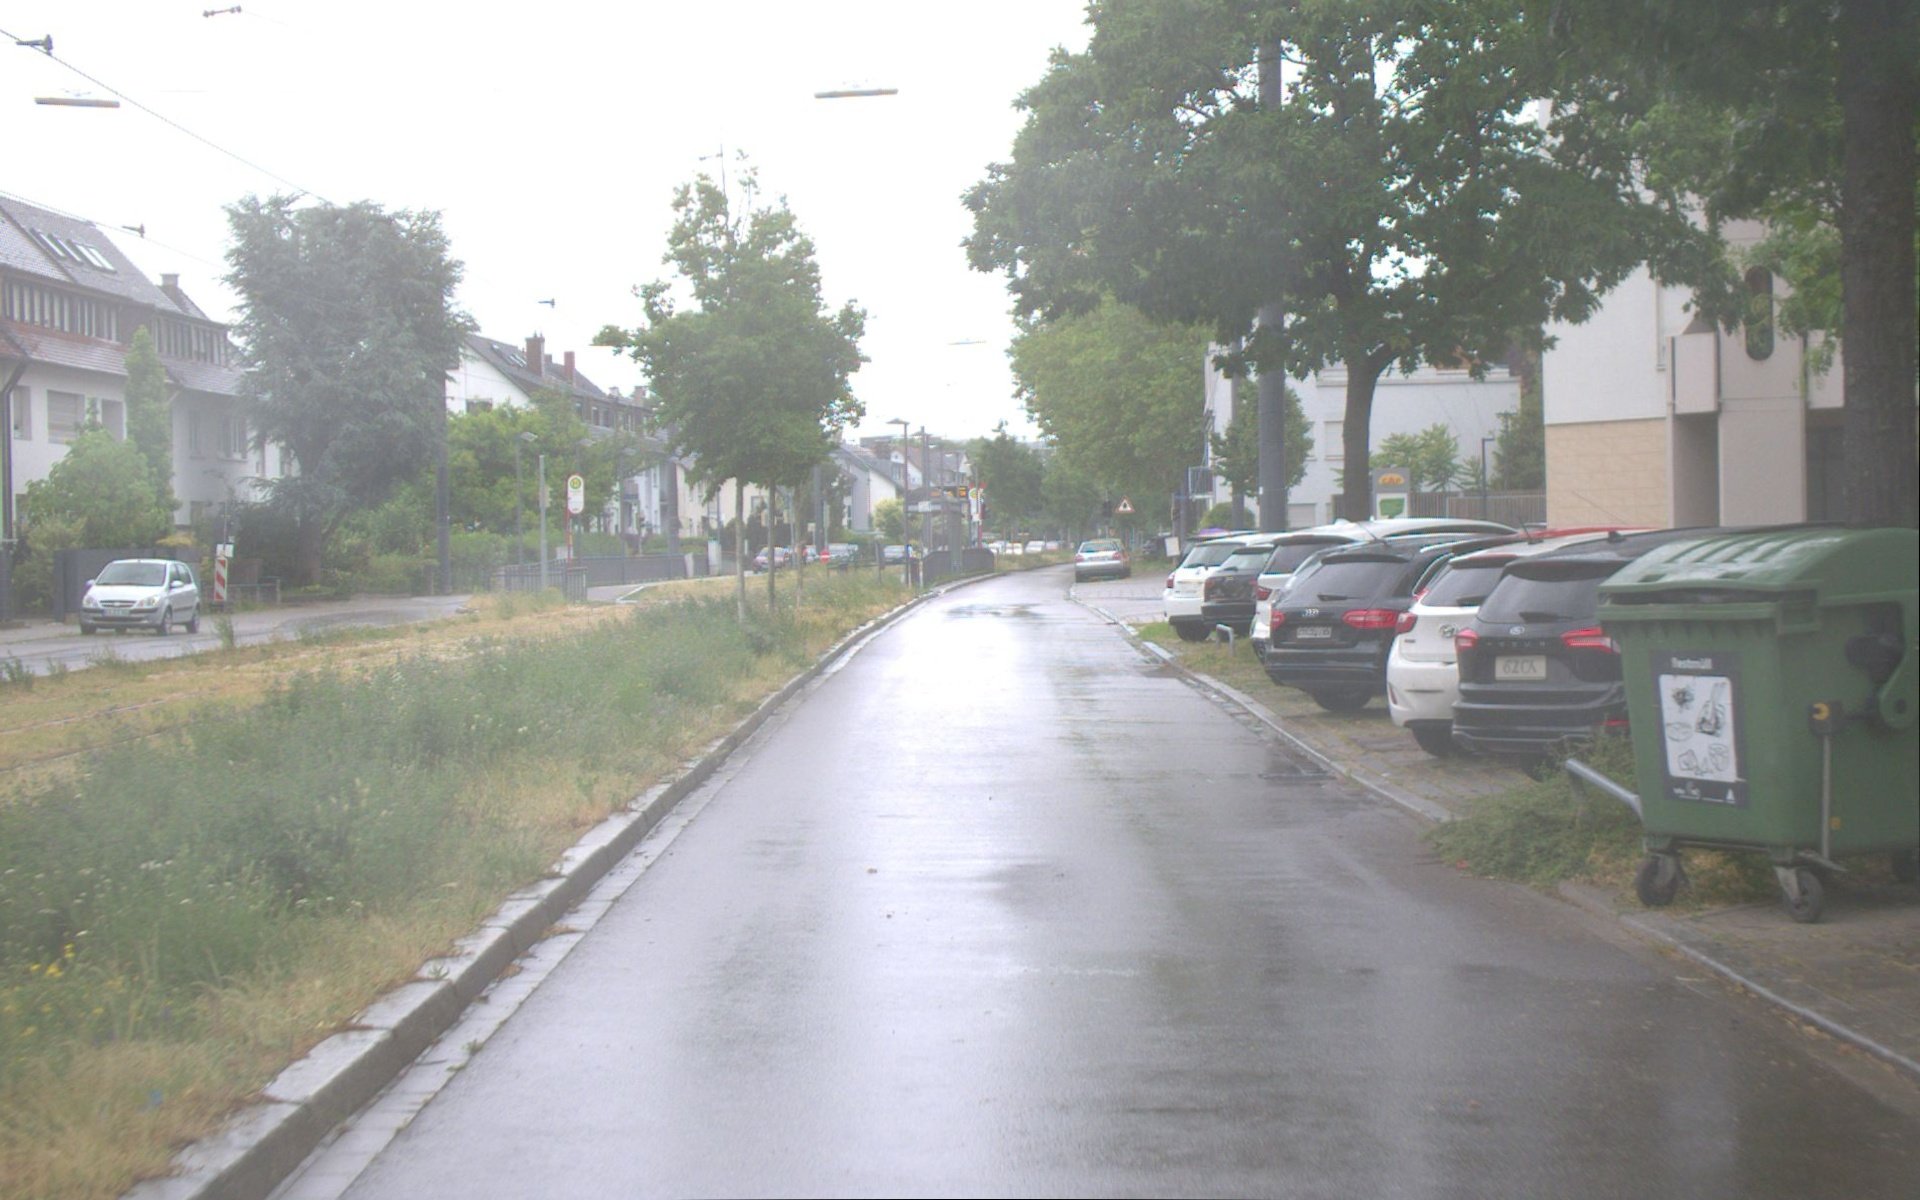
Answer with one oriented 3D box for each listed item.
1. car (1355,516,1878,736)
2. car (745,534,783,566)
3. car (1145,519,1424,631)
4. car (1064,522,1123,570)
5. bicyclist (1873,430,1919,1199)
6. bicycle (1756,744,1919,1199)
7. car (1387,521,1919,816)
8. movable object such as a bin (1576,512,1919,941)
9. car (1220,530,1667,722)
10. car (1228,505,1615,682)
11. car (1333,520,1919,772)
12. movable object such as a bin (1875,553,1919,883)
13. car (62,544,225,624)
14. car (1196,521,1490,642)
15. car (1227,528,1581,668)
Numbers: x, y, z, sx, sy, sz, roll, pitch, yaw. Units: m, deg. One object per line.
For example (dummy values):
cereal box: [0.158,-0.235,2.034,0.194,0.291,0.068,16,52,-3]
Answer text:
car: [5.128,0.156,26.652,4.028,1.514,1.585,-2,1,-35]
car: [-10.615,-2.719,186.355,1.843,1.666,4.000,-1,1,0]
car: [4.794,-0.381,50.526,4.029,1.508,1.585,-2,1,-37]
car: [4.666,-1.905,120.633,1.833,1.580,4.000,-1,1,0]
bicyclist: [2.008,0.430,5.336,0.809,1.428,1.060,-2,1,-4]
bicycle: [2.022,0.846,5.386,0.809,1.093,2.517,-2,1,-3]
car: [4.744,0.322,20.252,4.214,1.514,1.877,-2,1,-35]
movable object such as a bin: [3.322,0.445,13.347,1.125,1.452,1.401,-8,3,-21]
car: [4.154,0.178,29.146,4.030,1.438,1.584,-3,2,-44]
car: [4.864,-0.100,36.007,4.029,1.697,1.585,-2,1,-37]
car: [4.619,0.259,23.513,4.028,1.514,1.585,-2,1,-35]
movable object such as a bin: [4.800,0.430,13.665,1.681,1.321,1.401,-4,2,-21]
car: [-15.995,-0.346,67.575,1.897,1.464,4.687,1,1,2]
car: [5.333,-0.278,47.688,4.029,1.535,1.585,-2,1,-37]
car: [5.110,-0.046,39.329,4.029,1.440,1.585,-2,1,-37]
